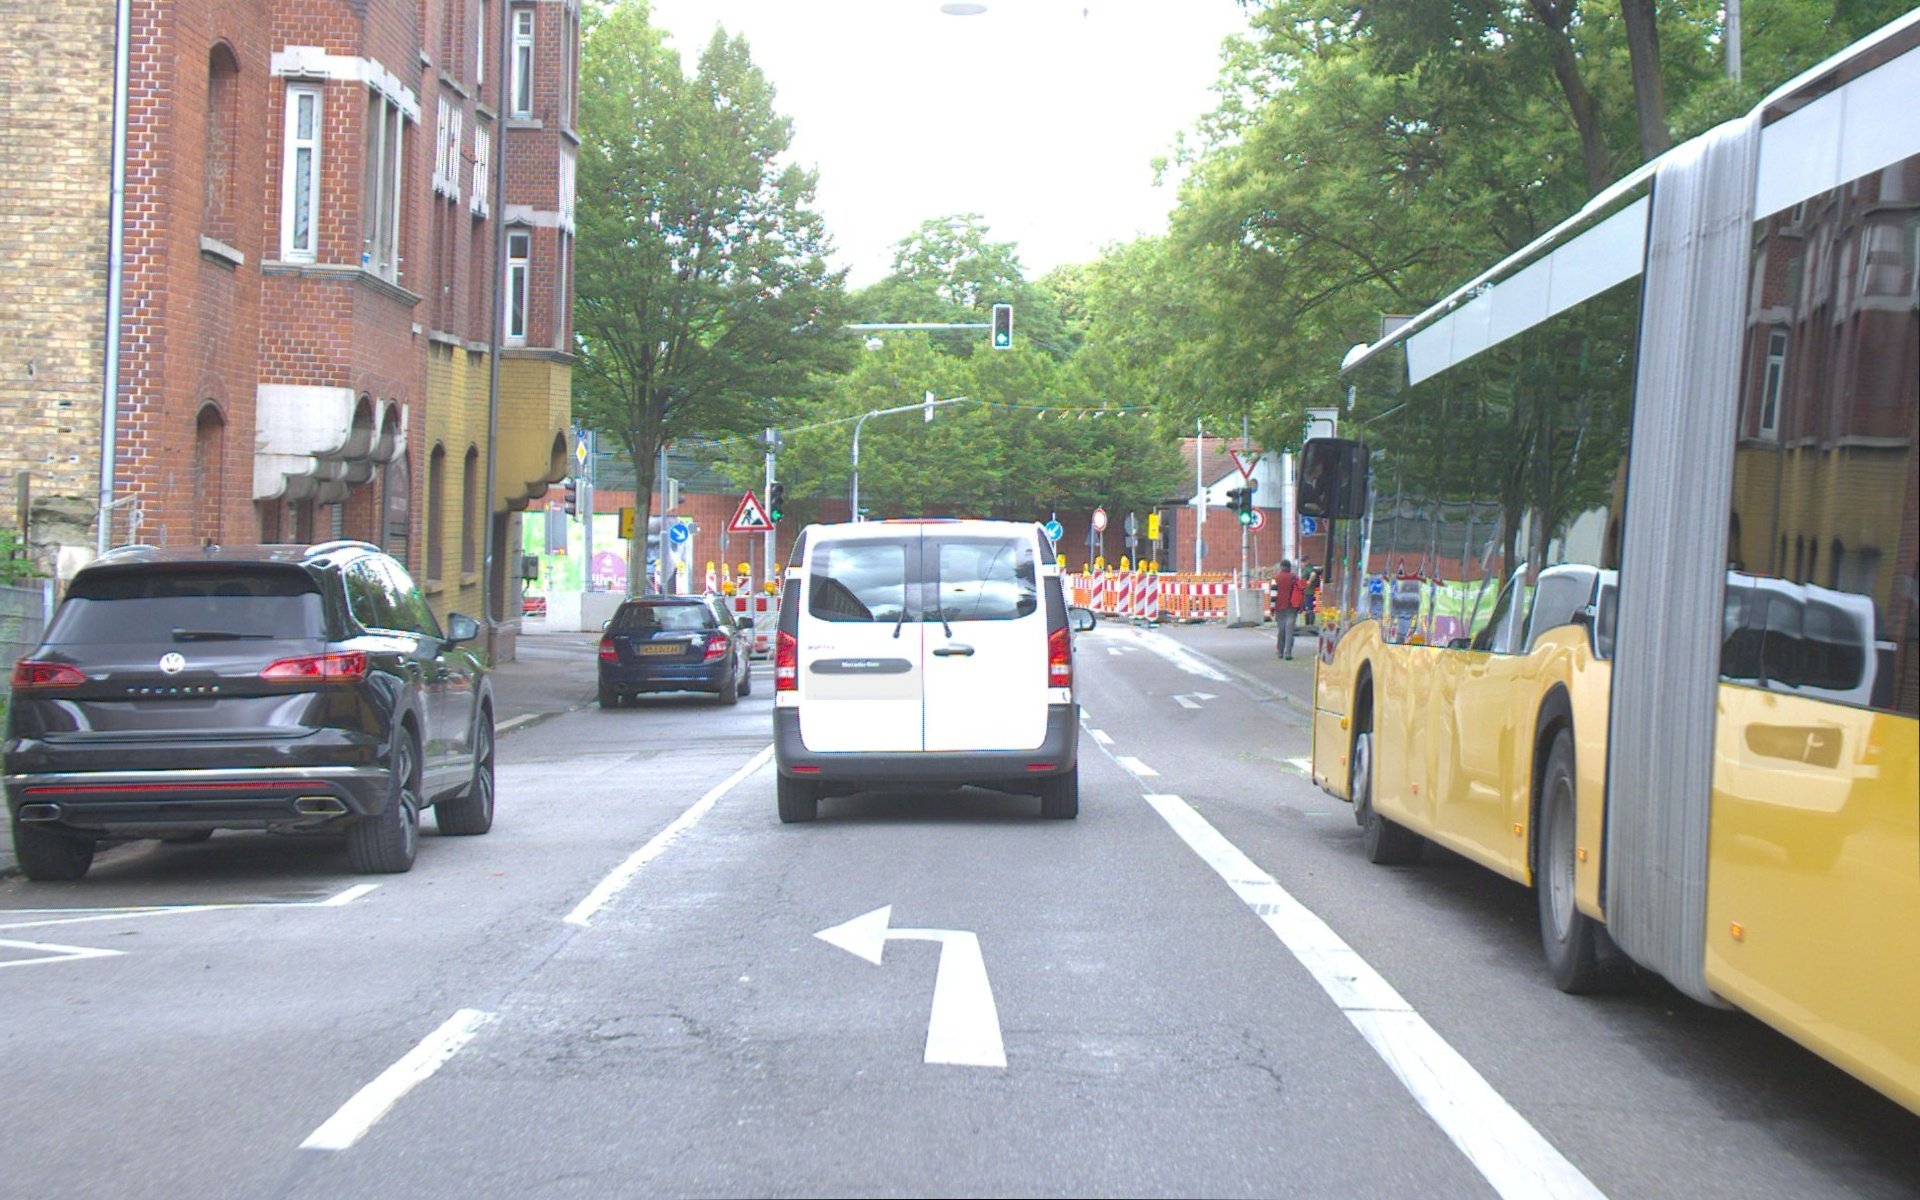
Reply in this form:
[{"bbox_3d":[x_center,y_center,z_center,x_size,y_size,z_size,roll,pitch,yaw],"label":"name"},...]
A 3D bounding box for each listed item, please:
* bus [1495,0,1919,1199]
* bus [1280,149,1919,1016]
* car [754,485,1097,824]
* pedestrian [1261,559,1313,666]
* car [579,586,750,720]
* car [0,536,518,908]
[{"bbox_3d":[3.354,-0.016,7.684,2.662,3.125,10.040,3,0,0],"label":"bus"},{"bbox_3d":[3.423,-0.054,17.311,2.672,3.128,9.217,3,0,0],"label":"bus"},{"bbox_3d":[-0.250,0.390,22.692,1.917,1.895,4.701,3,-2,-1],"label":"car"},{"bbox_3d":[5.645,0.210,59.436,0.779,1.825,0.727,-2,1,1],"label":"pedestrian"},{"bbox_3d":[-3.811,0.656,44.954,1.725,1.480,4.390,2,2,1],"label":"car"},{"bbox_3d":[-3.706,0.548,18.680,1.954,1.728,4.774,1,1,0],"label":"car"}]
